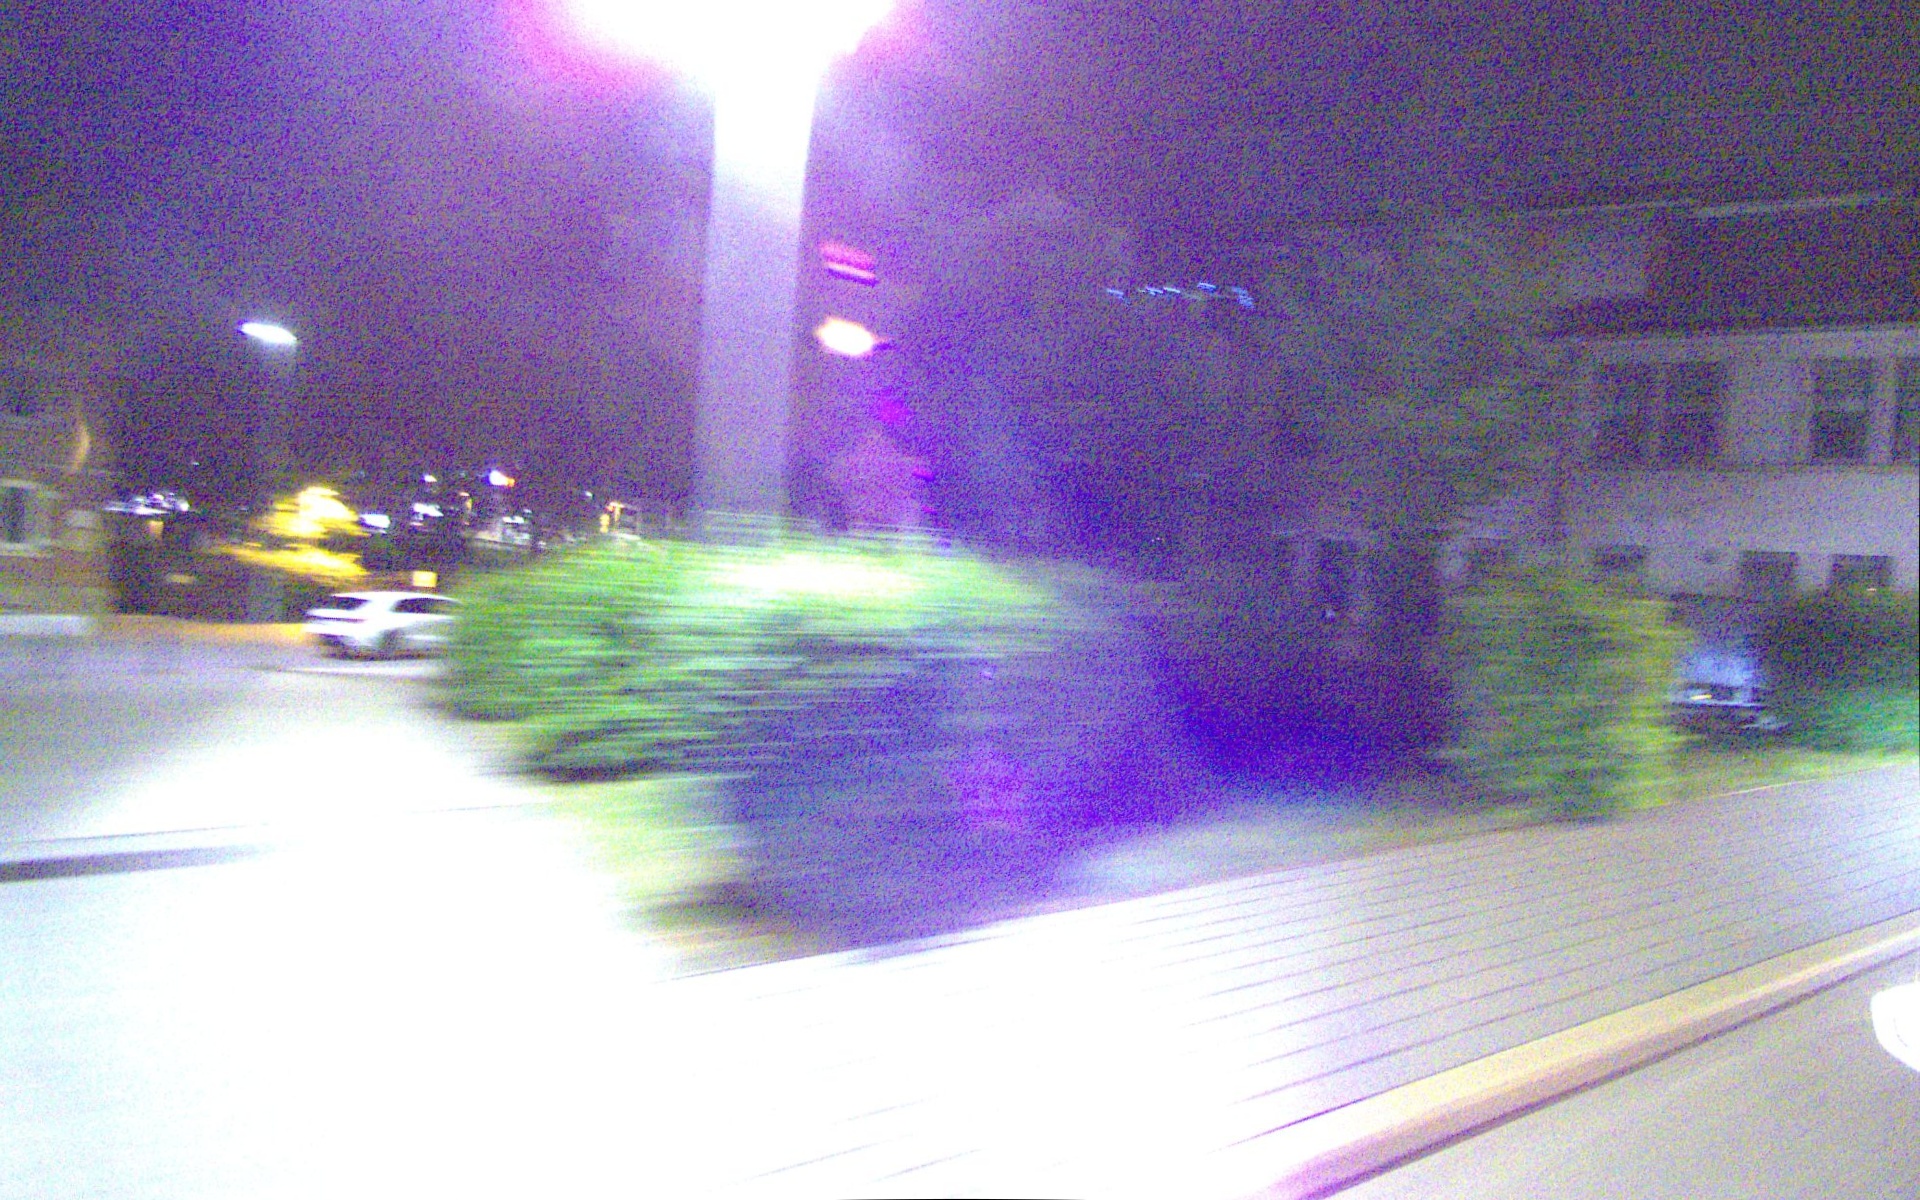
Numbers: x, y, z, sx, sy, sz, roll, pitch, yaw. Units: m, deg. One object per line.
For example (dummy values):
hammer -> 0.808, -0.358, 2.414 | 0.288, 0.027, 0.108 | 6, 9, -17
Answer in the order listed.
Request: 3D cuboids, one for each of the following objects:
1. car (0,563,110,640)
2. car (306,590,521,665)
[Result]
car -> -20.751, -0.006, 21.077 | 1.651, 1.587, 4.100 | 3, 0, 27
car -> -12.290, 0.599, 22.866 | 1.731, 1.464, 4.022 | 3, 0, 26
